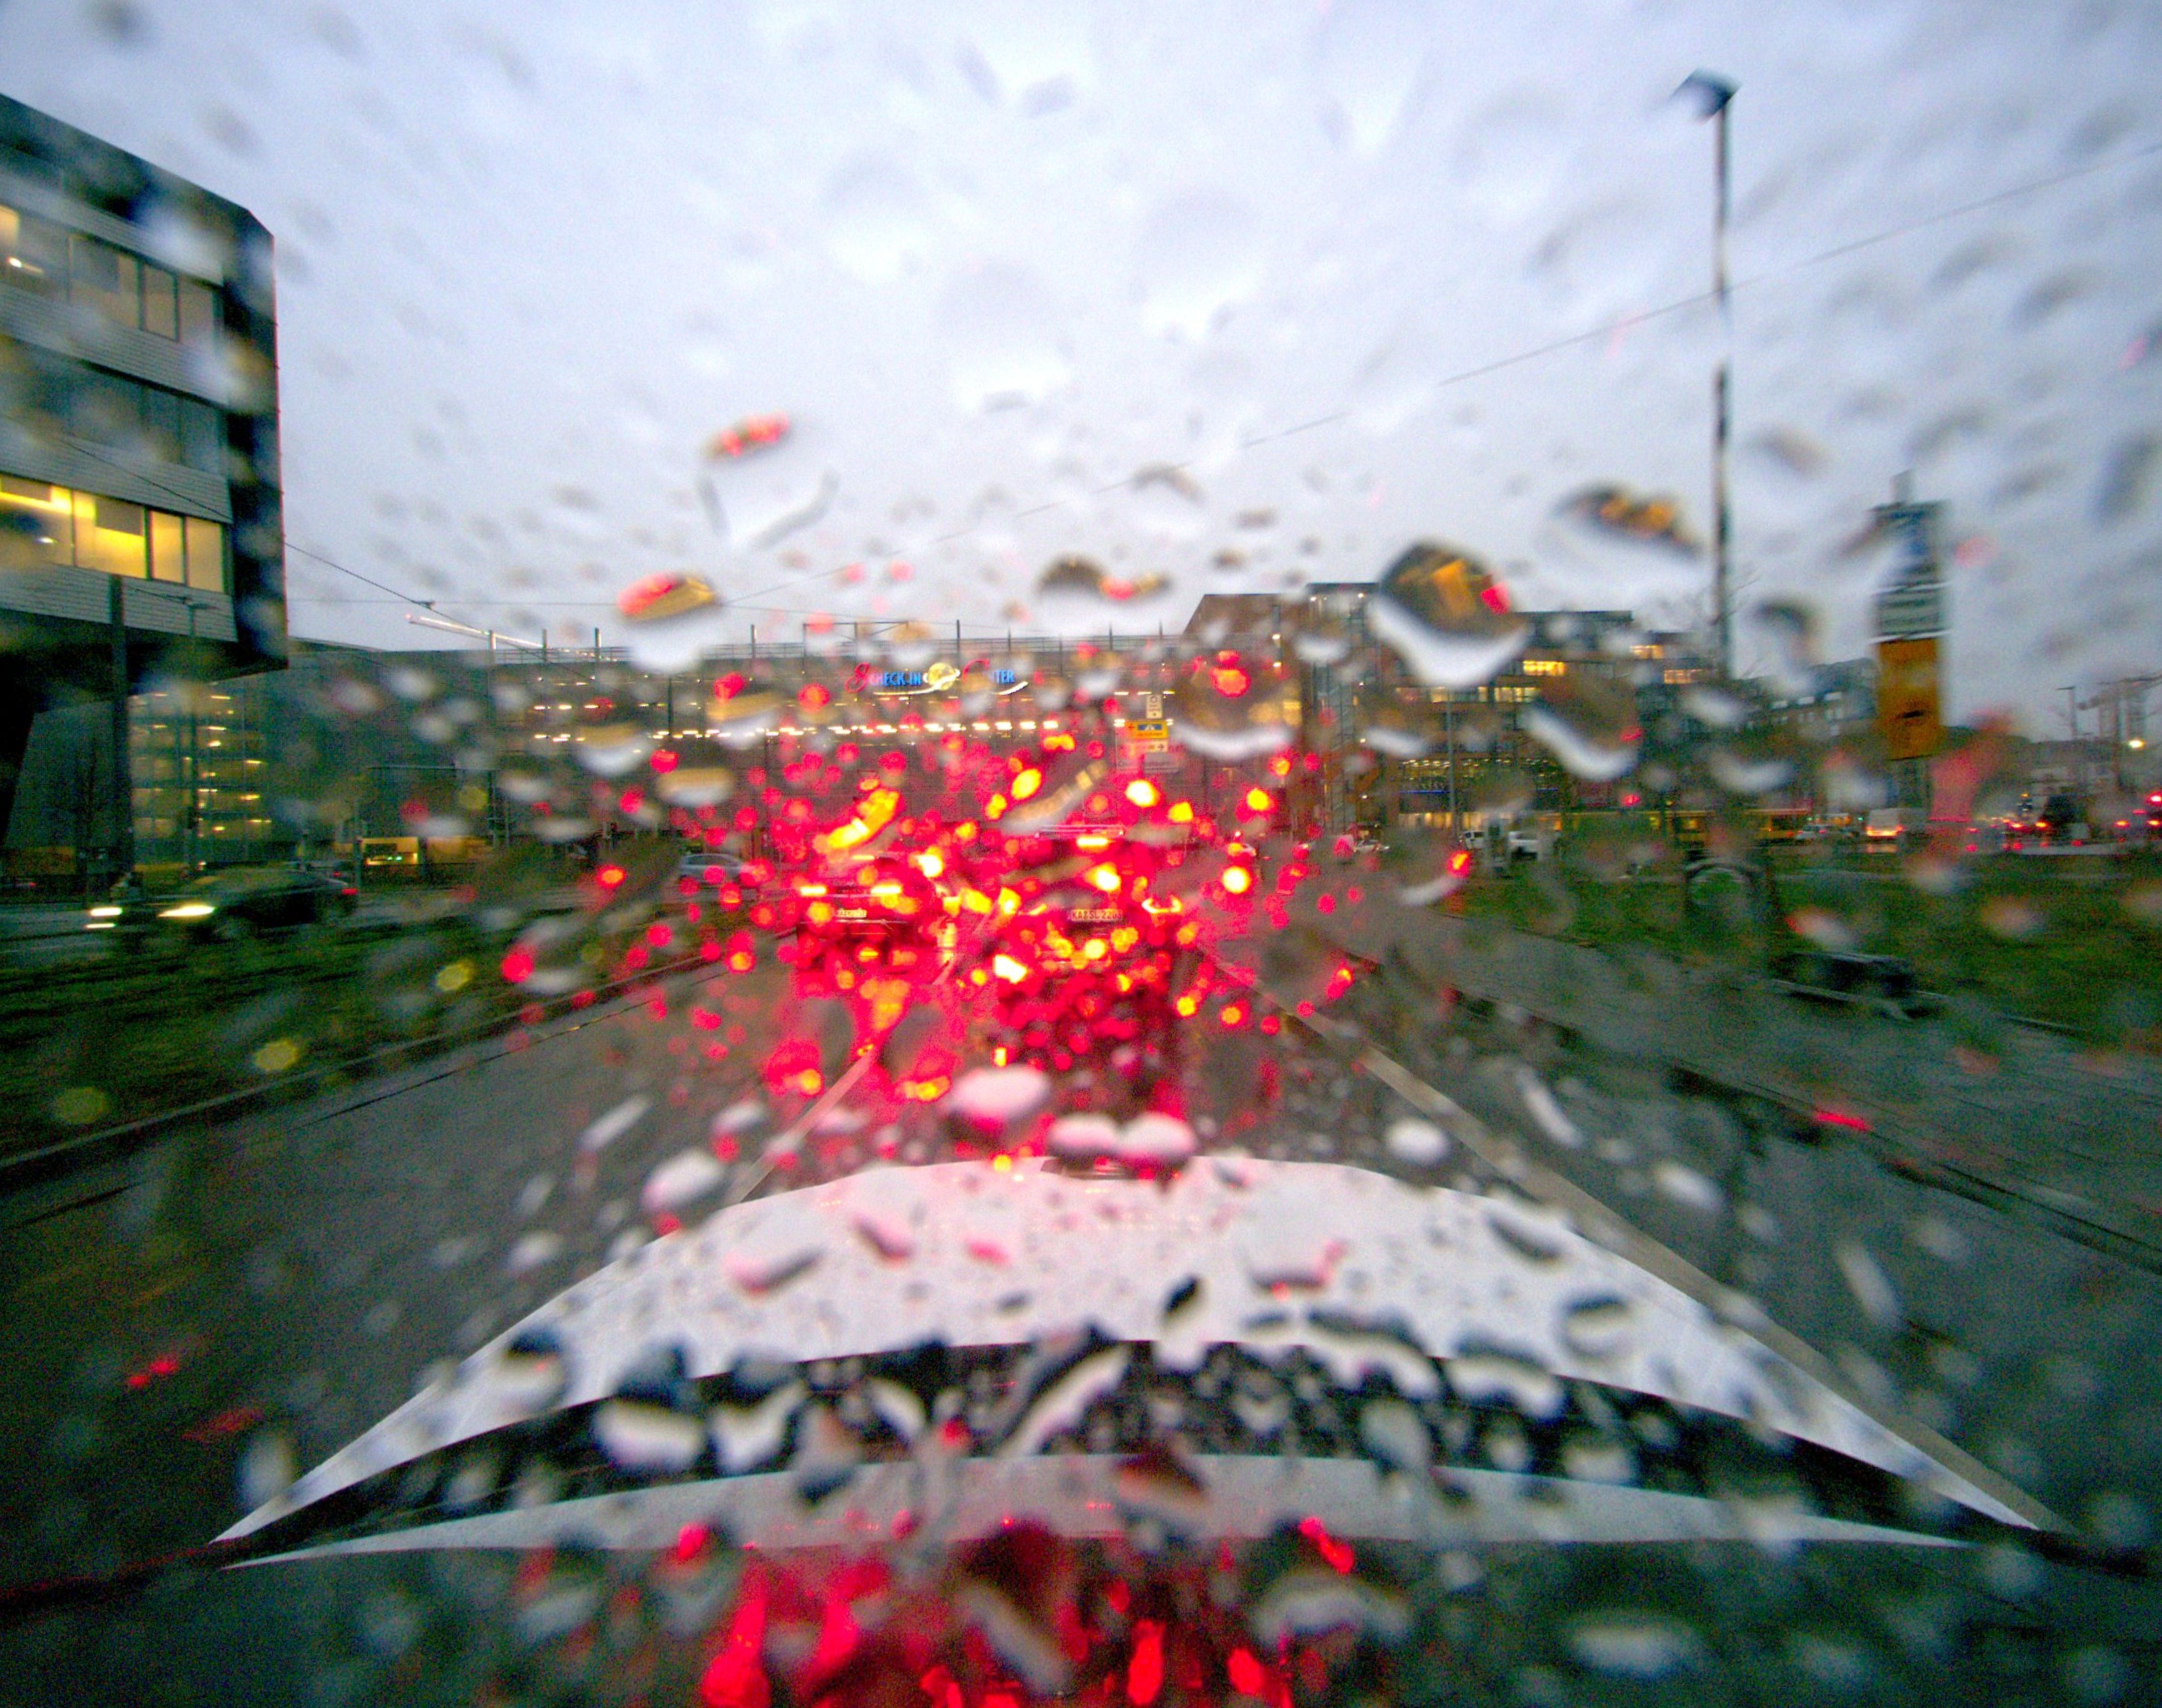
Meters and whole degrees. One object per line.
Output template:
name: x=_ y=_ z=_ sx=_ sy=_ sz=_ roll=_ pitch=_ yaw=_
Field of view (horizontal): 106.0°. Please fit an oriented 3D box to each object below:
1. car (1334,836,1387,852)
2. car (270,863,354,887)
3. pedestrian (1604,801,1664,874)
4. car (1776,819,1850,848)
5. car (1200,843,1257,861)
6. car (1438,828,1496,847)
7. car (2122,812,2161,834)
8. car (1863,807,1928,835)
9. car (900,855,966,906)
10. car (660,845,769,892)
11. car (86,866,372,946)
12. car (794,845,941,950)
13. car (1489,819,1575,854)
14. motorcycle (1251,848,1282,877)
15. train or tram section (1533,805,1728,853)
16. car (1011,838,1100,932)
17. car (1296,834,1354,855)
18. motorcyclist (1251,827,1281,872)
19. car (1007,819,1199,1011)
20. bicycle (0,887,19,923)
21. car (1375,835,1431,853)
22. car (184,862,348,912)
car: x=25.538 y=-0.910 z=74.578 sx=4.211 sy=1.390 sz=1.795 roll=-2 pitch=0 yaw=-7
car: x=-65.363 y=1.752 z=69.272 sx=5.071 sy=1.962 sz=1.887 roll=1 pitch=1 yaw=-6
pedestrian: x=14.860 y=-0.444 z=21.908 sx=1.160 sy=1.924 sz=0.903 roll=1 pitch=0 yaw=23
car: x=53.500 y=-1.491 z=59.550 sx=3.987 sy=2.013 sz=1.993 roll=0 pitch=0 yaw=-10
car: x=12.577 y=-0.175 z=69.462 sx=4.415 sy=1.390 sz=1.795 roll=-2 pitch=0 yaw=-7
car: x=34.403 y=-1.457 z=72.604 sx=4.427 sy=1.534 sz=1.795 roll=-2 pitch=0 yaw=-7
car: x=81.344 y=-2.316 z=61.513 sx=4.082 sy=1.583 sz=1.989 roll=0 pitch=1 yaw=-16
car: x=62.577 y=-2.474 z=62.545 sx=4.957 sy=2.013 sz=1.984 roll=0 pitch=1 yaw=-25
car: x=-4.025 y=0.663 z=22.636 sx=1.539 sy=1.251 sz=4.057 roll=-1 pitch=0 yaw=-7
car: x=-16.361 y=0.607 z=36.554 sx=3.989 sy=1.874 sz=1.993 roll=-3 pitch=1 yaw=-11
car: x=-18.118 y=1.021 z=17.709 sx=1.653 sy=1.400 sz=4.517 roll=1 pitch=1 yaw=-4
car: x=-3.639 y=0.666 z=14.569 sx=1.749 sy=1.574 sz=3.995 roll=-2 pitch=0 yaw=-4
car: x=26.788 y=-1.017 z=48.378 sx=4.364 sy=2.013 sz=1.989 roll=0 pitch=1 yaw=-16
motorcycle: x=6.591 y=0.302 z=29.018 sx=0.848 sy=0.971 sz=1.584 roll=-2 pitch=0 yaw=6
train or tram section: x=42.937 y=-2.010 z=63.442 sx=16.634 sy=3.260 sz=2.325 roll=-2 pitch=0 yaw=-15
car: x=-0.591 y=0.570 z=16.834 sx=1.633 sy=1.697 sz=3.665 roll=-1 pitch=0 yaw=-4
car: x=20.982 y=-0.797 z=70.063 sx=4.415 sy=1.595 sz=1.795 roll=-2 pitch=0 yaw=-7
motorcyclist: x=6.564 y=-0.164 z=28.971 sx=0.864 sy=1.534 sz=1.110 roll=-2 pitch=0 yaw=6
car: x=0.141 y=0.545 z=9.520 sx=1.730 sy=1.738 sz=4.244 roll=1 pitch=0 yaw=-2
bicycle: x=-33.144 y=1.575 z=24.336 sx=0.551 sy=1.090 sz=1.615 roll=-2 pitch=0 yaw=8
car: x=28.203 y=-0.868 z=71.359 sx=4.211 sy=1.390 sz=1.795 roll=-2 pitch=0 yaw=-7
car: x=-34.696 y=1.380 z=34.796 sx=4.668 sy=1.850 sz=1.826 roll=-2 pitch=0 yaw=-10
